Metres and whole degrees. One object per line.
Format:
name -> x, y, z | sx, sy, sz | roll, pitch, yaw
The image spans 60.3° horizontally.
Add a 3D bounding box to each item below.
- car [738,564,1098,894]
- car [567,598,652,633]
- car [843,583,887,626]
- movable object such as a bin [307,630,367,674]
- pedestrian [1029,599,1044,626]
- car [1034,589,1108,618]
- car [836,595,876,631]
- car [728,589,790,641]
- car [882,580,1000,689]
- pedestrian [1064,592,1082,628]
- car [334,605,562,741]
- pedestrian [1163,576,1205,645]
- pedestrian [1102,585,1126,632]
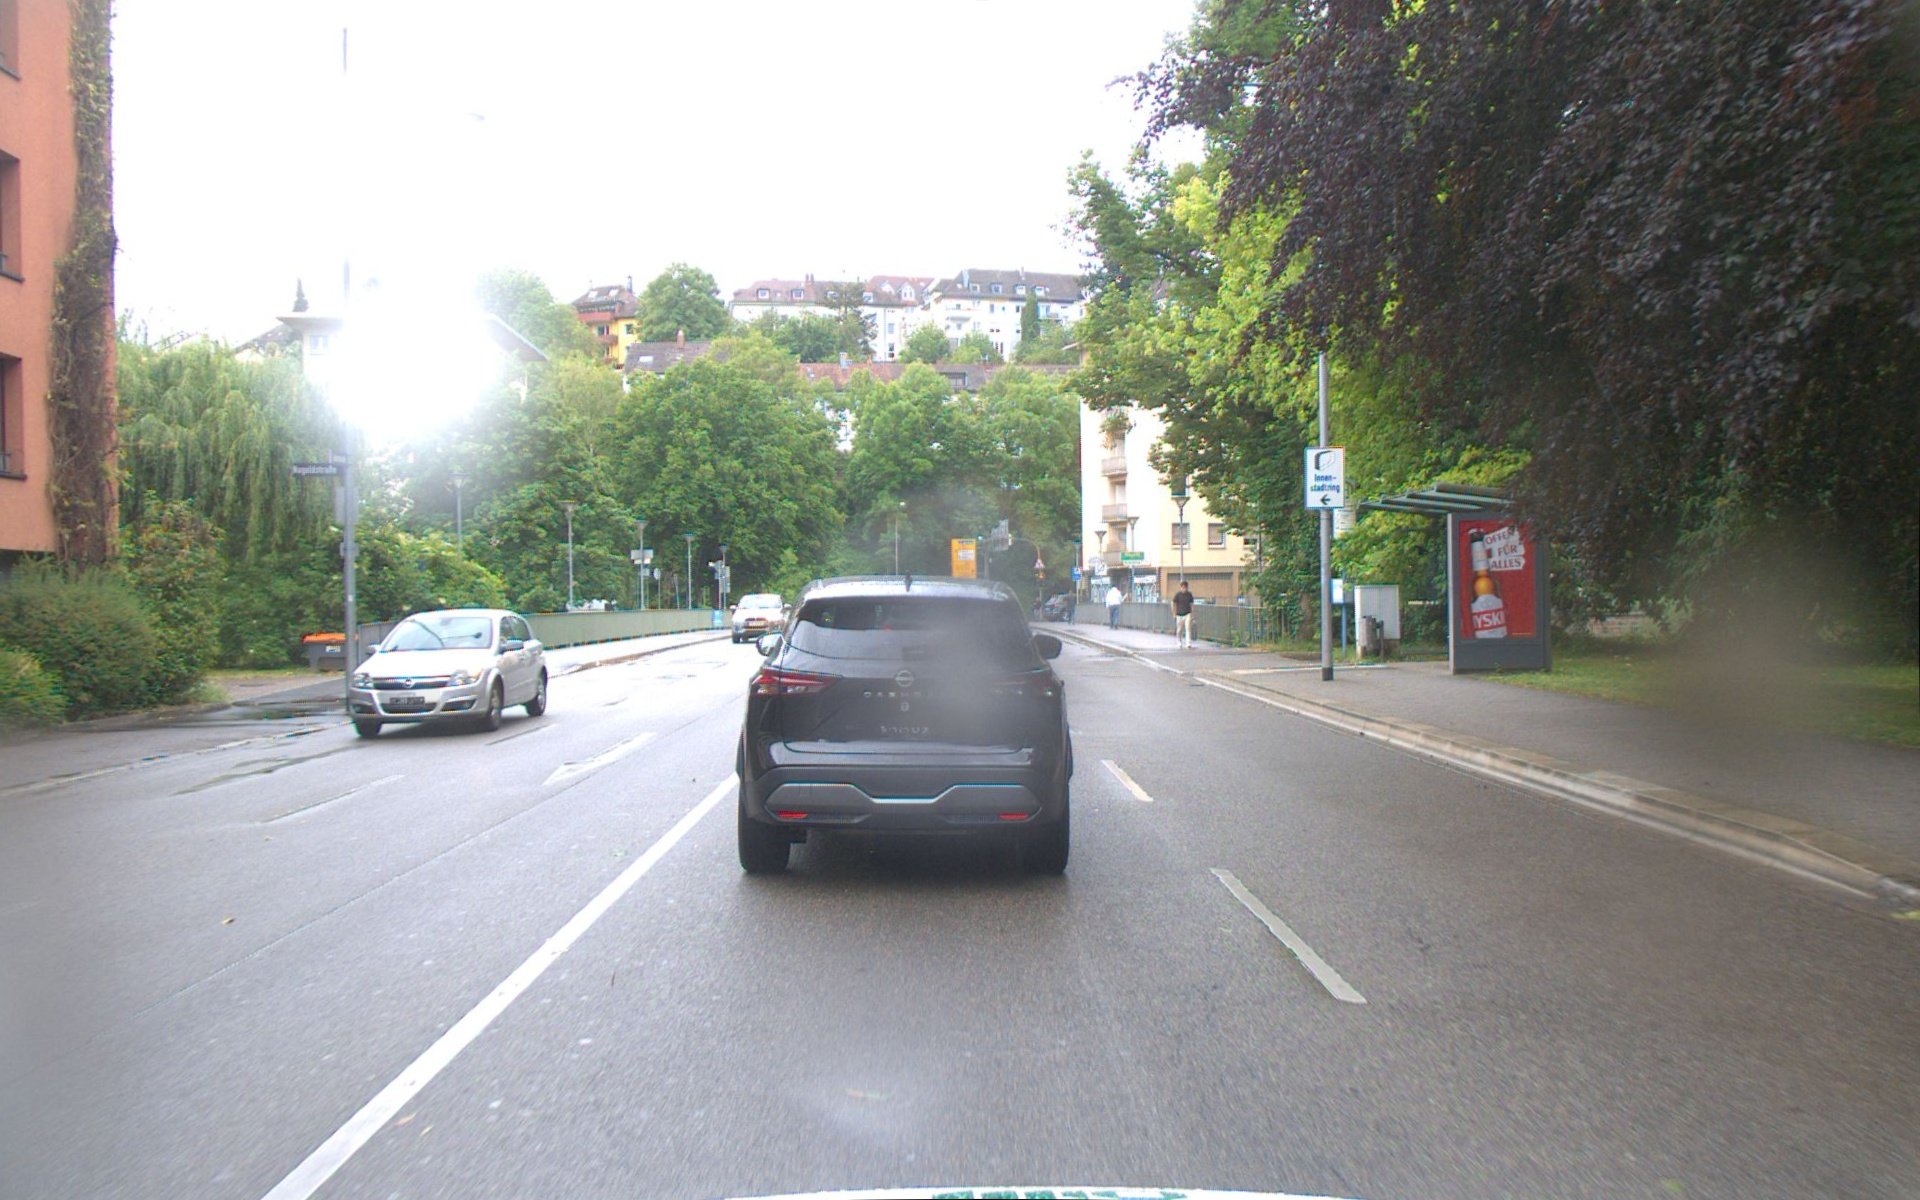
car -> -0.242, 0.631, 10.202 | 1.774, 1.631, 3.999 | 0, 0, -1
car -> -20.272, 0.864, 95.802 | 4.655, 1.886, 1.996 | -1, 2, -10
car -> -5.413, 0.212, 95.373 | 2.243, 2.349, 6.507 | -2, 1, -1
movable object such as a bin -> -13.248, 1.099, 35.214 | 0.946, 0.892, 0.832 | -1, -1, -1
pedestrian -> 4.875, 0.805, 105.149 | 0.845, 1.647, 0.839 | -2, -1, -1
car -> 7.092, 0.225, 105.447 | 4.315, 1.678, 1.867 | -2, -1, -27
car -> -4.765, 0.560, 76.099 | 1.746, 1.499, 4.164 | -2, 1, -3
car -> -6.820, 0.484, 56.471 | 1.777, 1.606, 4.229 | -2, 1, -3
car -> -0.328, 0.517, 27.113 | 1.774, 1.631, 3.999 | 1, 0, -1
pedestrian -> 5.489, 0.483, 80.376 | 0.745, 1.706, 0.781 | -3, 0, -1
car -> -6.388, 0.843, 21.101 | 1.777, 1.440, 4.046 | -2, 1, -3
pedestrian -> 5.792, 0.271, 42.823 | 0.830, 1.705, 1.167 | -3, -1, -2
pedestrian -> 6.012, 0.333, 64.670 | 0.764, 1.783, 1.060 | -1, -1, -2
